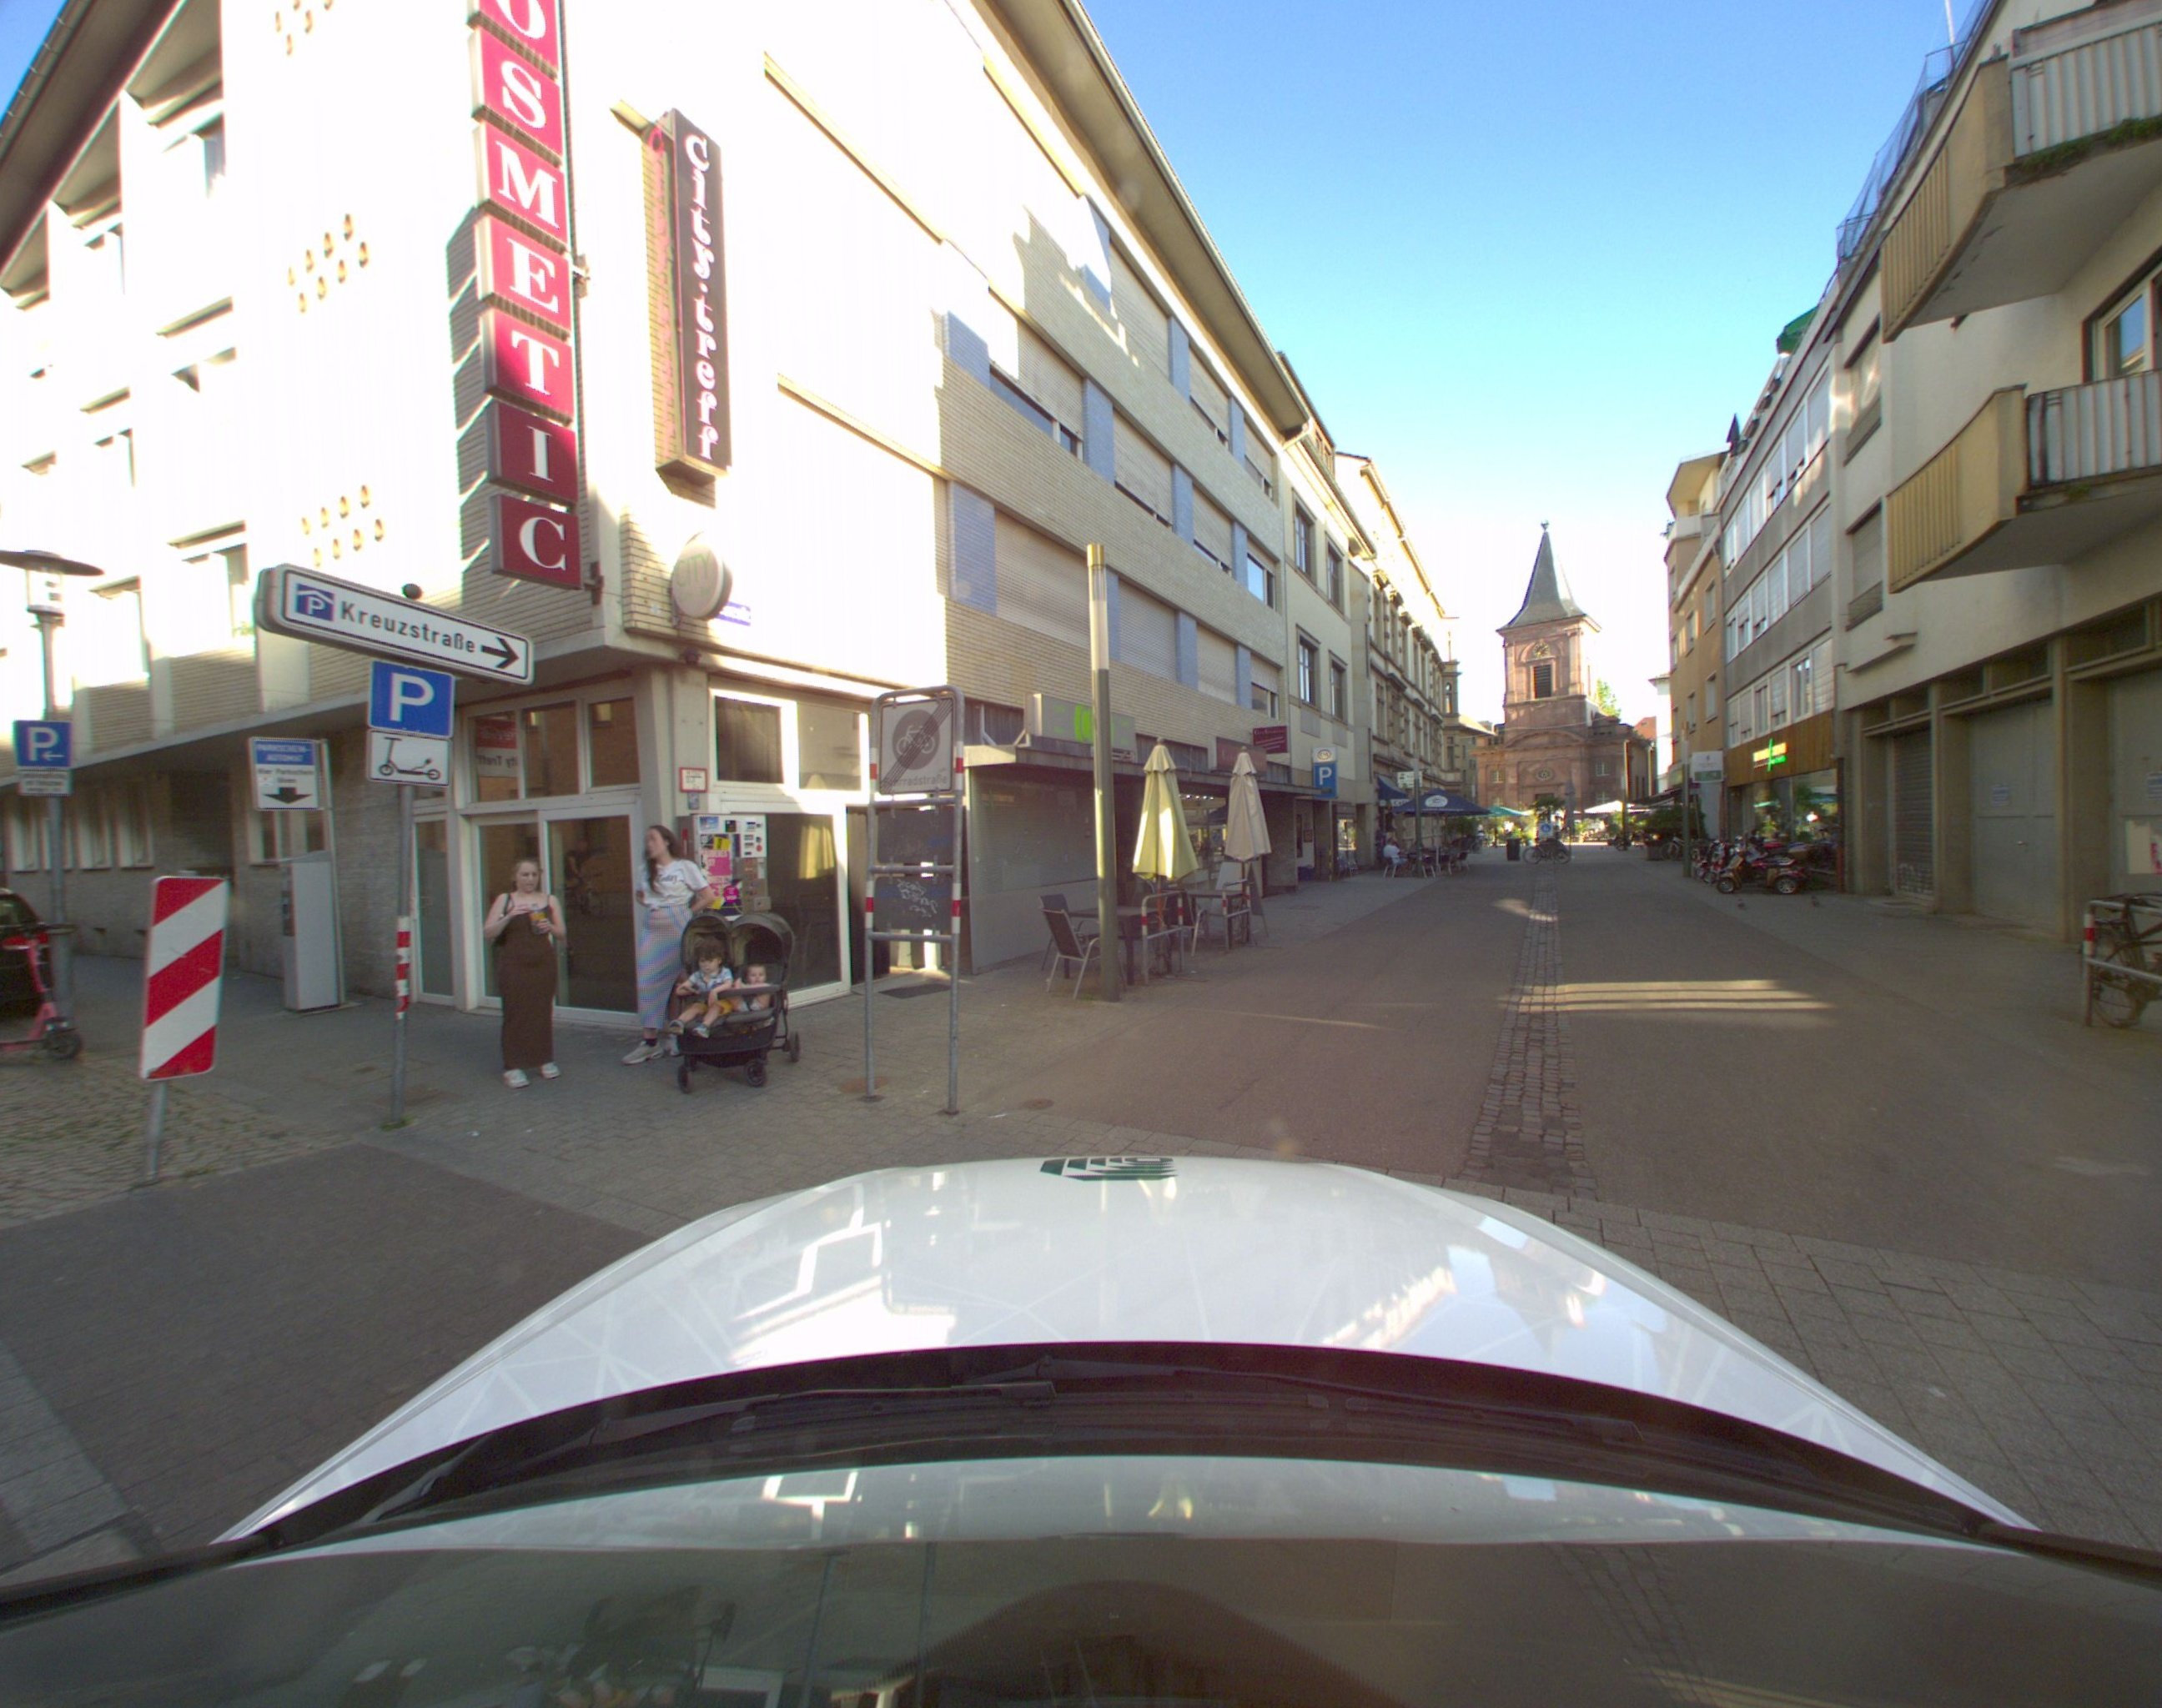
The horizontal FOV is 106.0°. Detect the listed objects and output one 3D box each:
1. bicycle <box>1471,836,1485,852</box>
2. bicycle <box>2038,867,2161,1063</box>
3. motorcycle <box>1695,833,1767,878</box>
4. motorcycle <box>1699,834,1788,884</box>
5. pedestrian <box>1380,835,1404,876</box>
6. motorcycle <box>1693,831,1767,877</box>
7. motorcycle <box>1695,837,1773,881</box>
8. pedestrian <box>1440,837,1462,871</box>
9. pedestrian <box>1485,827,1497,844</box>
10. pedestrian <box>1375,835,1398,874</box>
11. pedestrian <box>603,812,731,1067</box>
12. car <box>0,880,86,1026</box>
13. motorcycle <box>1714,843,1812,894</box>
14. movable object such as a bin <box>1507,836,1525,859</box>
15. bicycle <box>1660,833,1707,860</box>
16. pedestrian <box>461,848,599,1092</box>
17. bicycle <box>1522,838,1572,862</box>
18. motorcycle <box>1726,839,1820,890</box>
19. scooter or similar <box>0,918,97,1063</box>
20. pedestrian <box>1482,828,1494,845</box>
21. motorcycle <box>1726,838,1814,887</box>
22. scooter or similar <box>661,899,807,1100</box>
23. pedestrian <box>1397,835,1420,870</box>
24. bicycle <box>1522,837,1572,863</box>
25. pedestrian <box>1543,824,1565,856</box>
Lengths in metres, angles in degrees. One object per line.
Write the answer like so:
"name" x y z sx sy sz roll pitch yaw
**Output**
"bicycle" 22.877 -0.573 46.897 0.452 0.849 2.160 -1 1 34
"bicycle" 7.153 0.683 5.520 0.442 1.139 1.721 -1 0 35
"motorcycle" 17.724 0.041 22.216 0.414 1.181 1.470 -3 1 -45
"motorcycle" 16.211 0.119 19.955 0.483 1.175 1.610 -3 1 -42
"pedestrian" 10.510 0.047 27.542 0.702 1.368 0.723 -2 1 18
"motorcycle" 17.220 0.014 21.617 0.414 1.181 1.470 -3 1 -45
"motorcycle" 16.590 0.140 20.700 0.414 1.075 1.470 -3 1 -42
"pedestrian" 13.579 -0.013 29.916 0.686 1.215 0.586 -2 1 22
"pedestrian" 30.486 -1.372 60.548 0.693 1.217 0.724 -1 1 36
"pedestrian" 10.832 0.014 28.900 0.712 1.368 0.714 -2 1 18
"pedestrian" -3.157 0.612 6.278 0.660 1.819 0.567 -5 3 -19
"car" -13.098 1.074 9.155 3.763 1.486 1.751 -1 -1 29
"motorcycle" 14.593 0.303 17.462 0.374 1.041 1.550 -3 1 -42
"movable object such as a bin" 20.179 -0.306 37.806 0.714 1.074 0.376 -2 1 29
"bicycle" 23.402 -0.296 31.653 1.449 1.004 0.577 -1 1 37
"pedestrian" -3.853 0.772 5.710 0.504 1.579 0.537 -2 4 36
"bicycle" 19.786 -0.164 34.621 1.807 1.004 0.383 -1 1 27
"motorcycle" 15.270 0.225 17.997 0.414 1.075 1.503 -3 1 -42
"scooter or similar" -9.140 1.177 7.010 0.880 1.183 0.208 -2 1 -11
"pedestrian" 29.675 -1.262 59.356 0.693 1.217 0.724 -1 1 36
"motorcycle" 15.817 0.200 18.719 0.414 1.075 1.470 -3 1 -42
"scooter or similar" -2.362 0.942 5.670 0.799 1.143 0.948 -2 2 -18
"pedestrian" 12.089 -0.066 30.030 0.758 1.233 0.836 -2 1 22
"bicycle" 19.594 -0.165 34.266 1.807 1.004 0.383 -1 1 27
"pedestrian" 22.137 -0.643 38.114 0.875 1.464 0.735 -1 1 31
